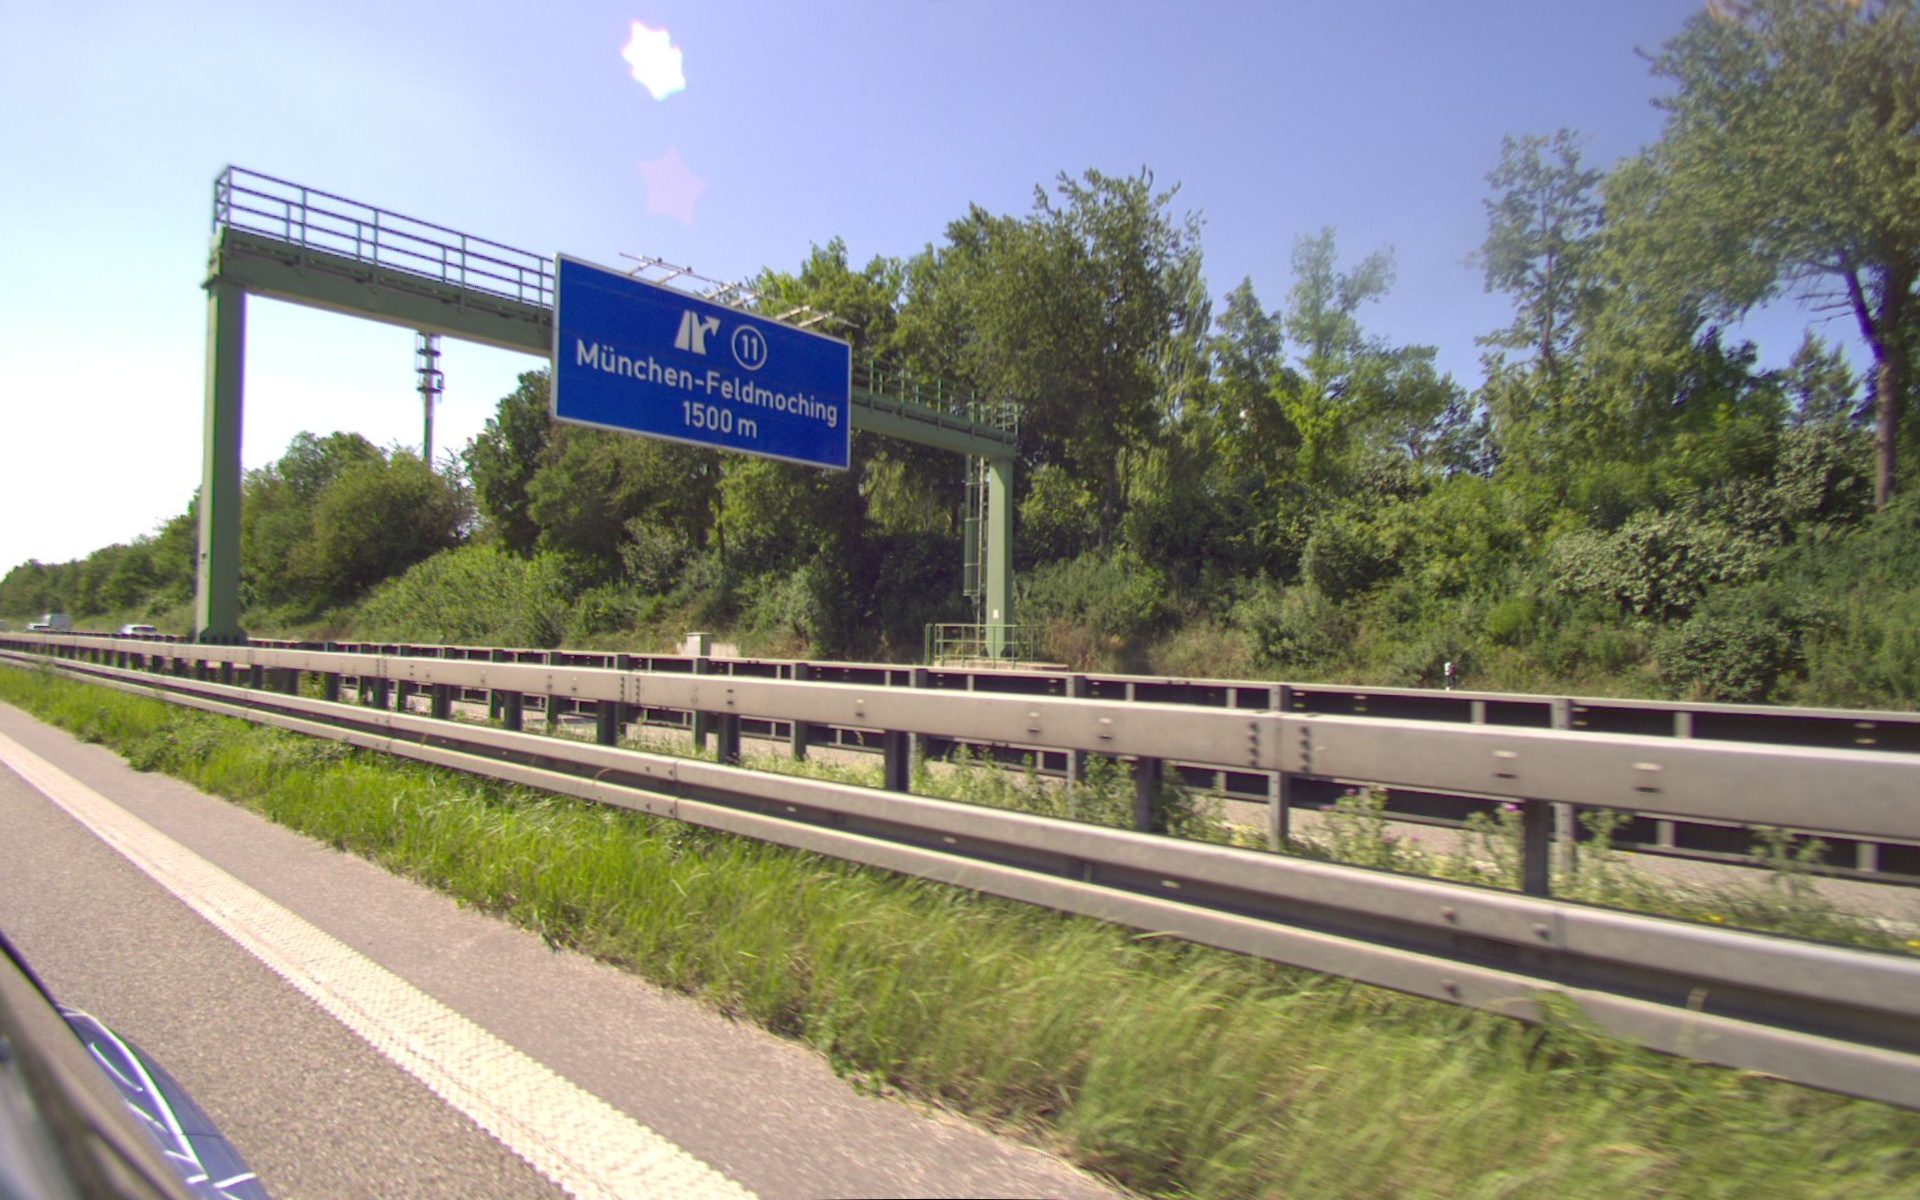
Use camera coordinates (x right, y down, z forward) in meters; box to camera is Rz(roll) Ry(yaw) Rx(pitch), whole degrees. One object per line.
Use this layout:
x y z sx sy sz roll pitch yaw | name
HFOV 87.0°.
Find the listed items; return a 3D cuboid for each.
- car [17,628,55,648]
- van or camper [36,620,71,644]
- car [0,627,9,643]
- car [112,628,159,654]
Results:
-82.041 3.356 89.797 5.307 1.622 1.859 -1 -4 41 | car
-99.533 3.499 111.092 6.195 2.579 2.016 -1 -4 41 | van or camper
-113.496 4.103 119.131 5.166 1.844 1.727 -1 -4 41 | car
-50.550 2.504 62.053 3.882 1.475 1.647 -1 -5 43 | car
